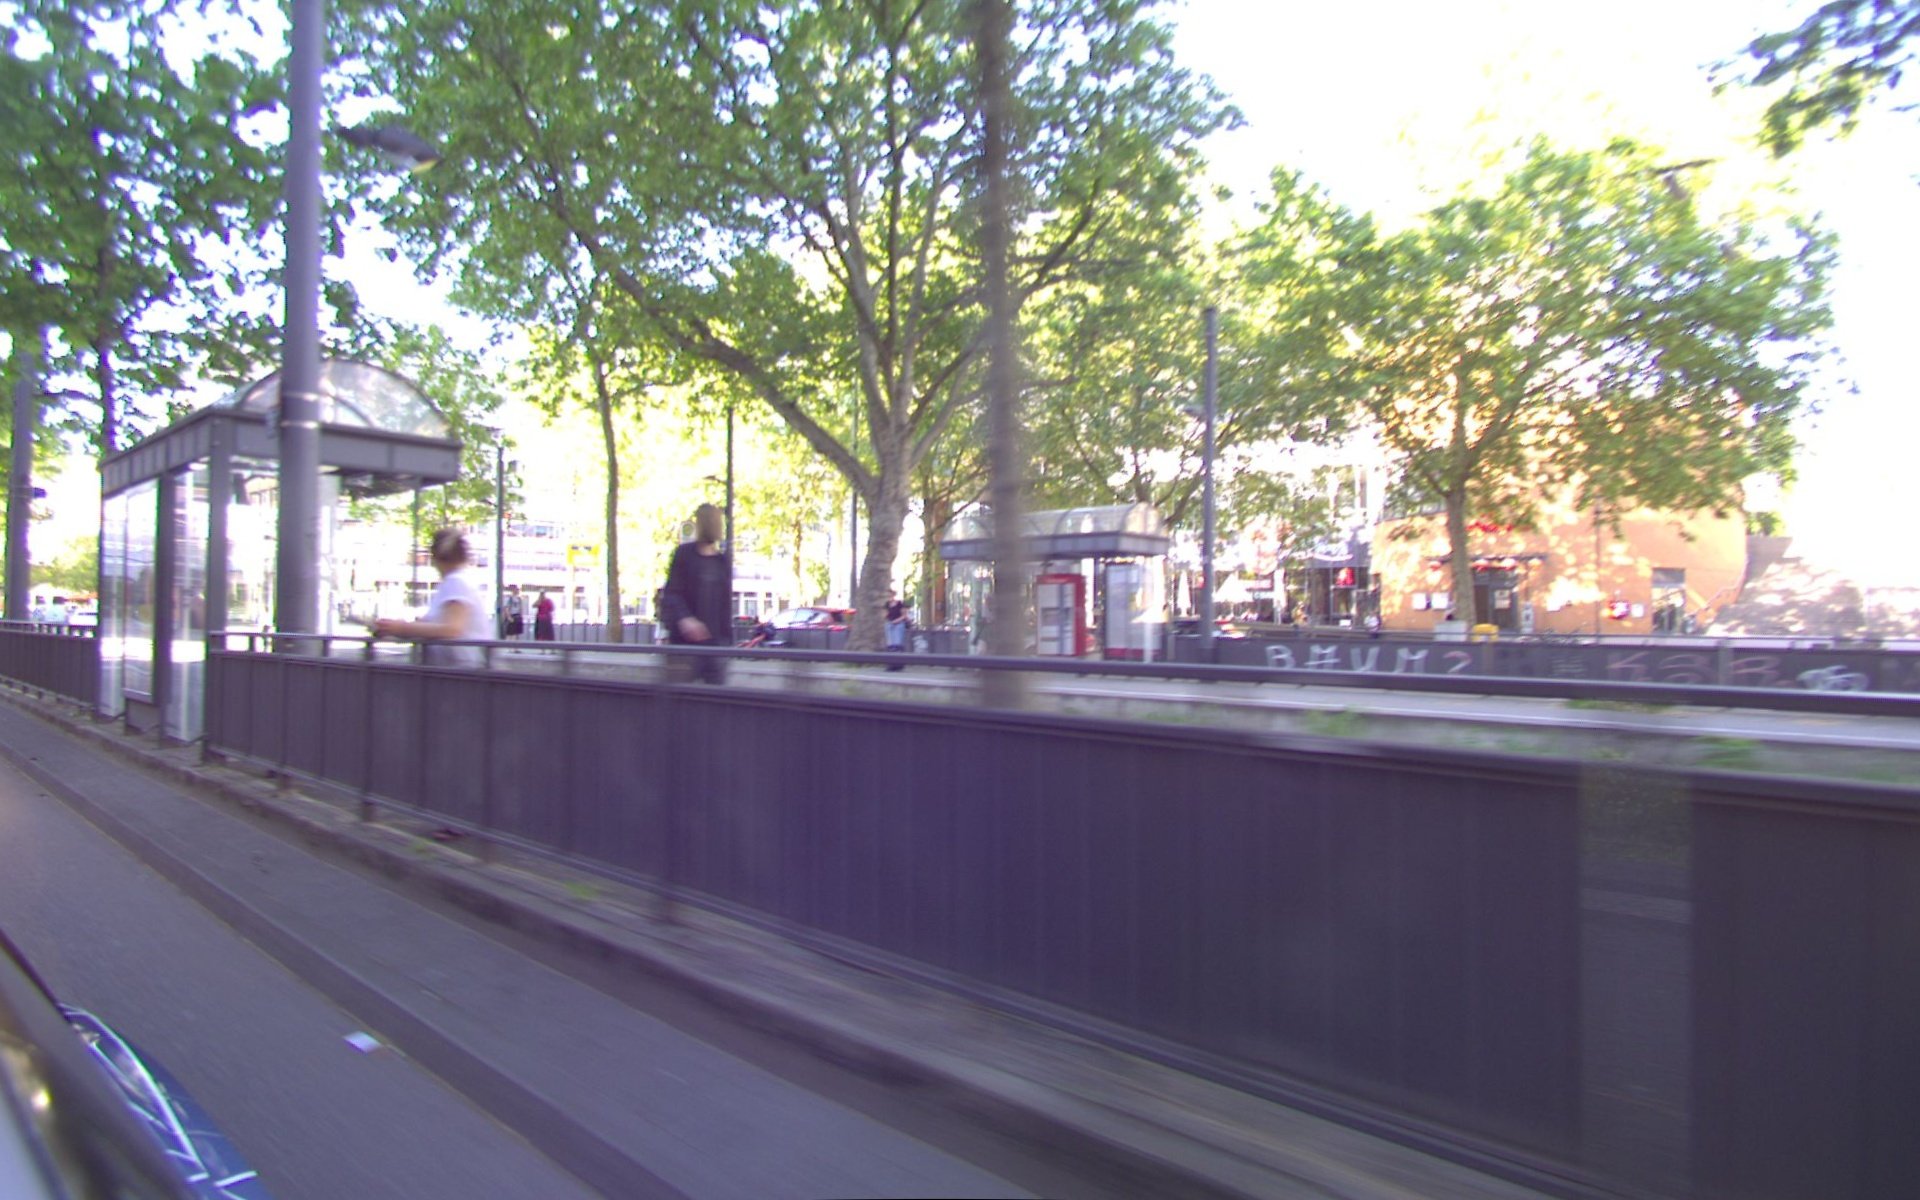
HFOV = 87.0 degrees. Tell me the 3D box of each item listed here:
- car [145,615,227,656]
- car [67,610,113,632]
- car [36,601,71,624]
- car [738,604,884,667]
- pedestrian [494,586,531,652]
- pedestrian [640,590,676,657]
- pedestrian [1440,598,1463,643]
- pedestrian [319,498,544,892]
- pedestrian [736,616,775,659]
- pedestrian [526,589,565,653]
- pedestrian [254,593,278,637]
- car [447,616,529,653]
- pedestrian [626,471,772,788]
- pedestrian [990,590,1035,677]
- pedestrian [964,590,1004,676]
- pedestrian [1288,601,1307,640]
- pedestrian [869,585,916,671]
[{"bbox_3d":[-29.686,1.330,38.778,3.340,1.466,1.847,-1,-1,41],"label":"car"},{"bbox_3d":[-62.079,1.480,72.256,1.878,1.494,4.299,1,-1,-33],"label":"car"},{"bbox_3d":[-73.787,0.991,82.365,1.970,1.796,4.004,-1,0,-43],"label":"car"},{"bbox_3d":[-4.242,0.984,28.564,3.999,1.652,1.972,-1,-2,42],"label":"car"},{"bbox_3d":[-12.163,0.525,27.492,0.674,1.767,0.649,-1,-1,32],"label":"pedestrian"},{"bbox_3d":[-8.065,0.626,27.046,0.635,1.753,0.690,-1,-1,32],"label":"pedestrian"},{"bbox_3d":[17.743,0.747,36.503,0.571,1.616,0.580,1,-1,-45],"label":"pedestrian"},{"bbox_3d":[-2.527,0.407,4.859,0.644,1.703,0.733,-1,1,39],"label":"pedestrian"},{"bbox_3d":[-5.106,0.933,25.247,0.713,1.048,0.699,1,-2,-42],"label":"pedestrian"},{"bbox_3d":[-11.198,0.559,27.356,0.697,1.709,0.678,-1,-1,32],"label":"pedestrian"},{"bbox_3d":[-27.142,0.572,39.580,0.501,1.698,0.640,-1,-1,38],"label":"pedestrian"},{"bbox_3d":[-19.413,1.385,41.586,3.340,1.466,1.847,-1,-1,41],"label":"car"},{"bbox_3d":[-1.638,0.177,6.375,0.638,1.853,0.640,-1,-2,40],"label":"pedestrian"},{"bbox_3d":[0.923,0.583,17.813,0.605,1.497,0.566,-1,-1,29],"label":"pedestrian"},{"bbox_3d":[0.433,0.587,18.188,0.549,1.509,0.549,-1,-1,29],"label":"pedestrian"},{"bbox_3d":[14.162,0.847,42.471,0.597,1.616,0.572,-1,-1,40],"label":"pedestrian"},{"bbox_3d":[-1.327,0.549,19.876,0.666,1.654,0.662,0,-1,29],"label":"pedestrian"}]
